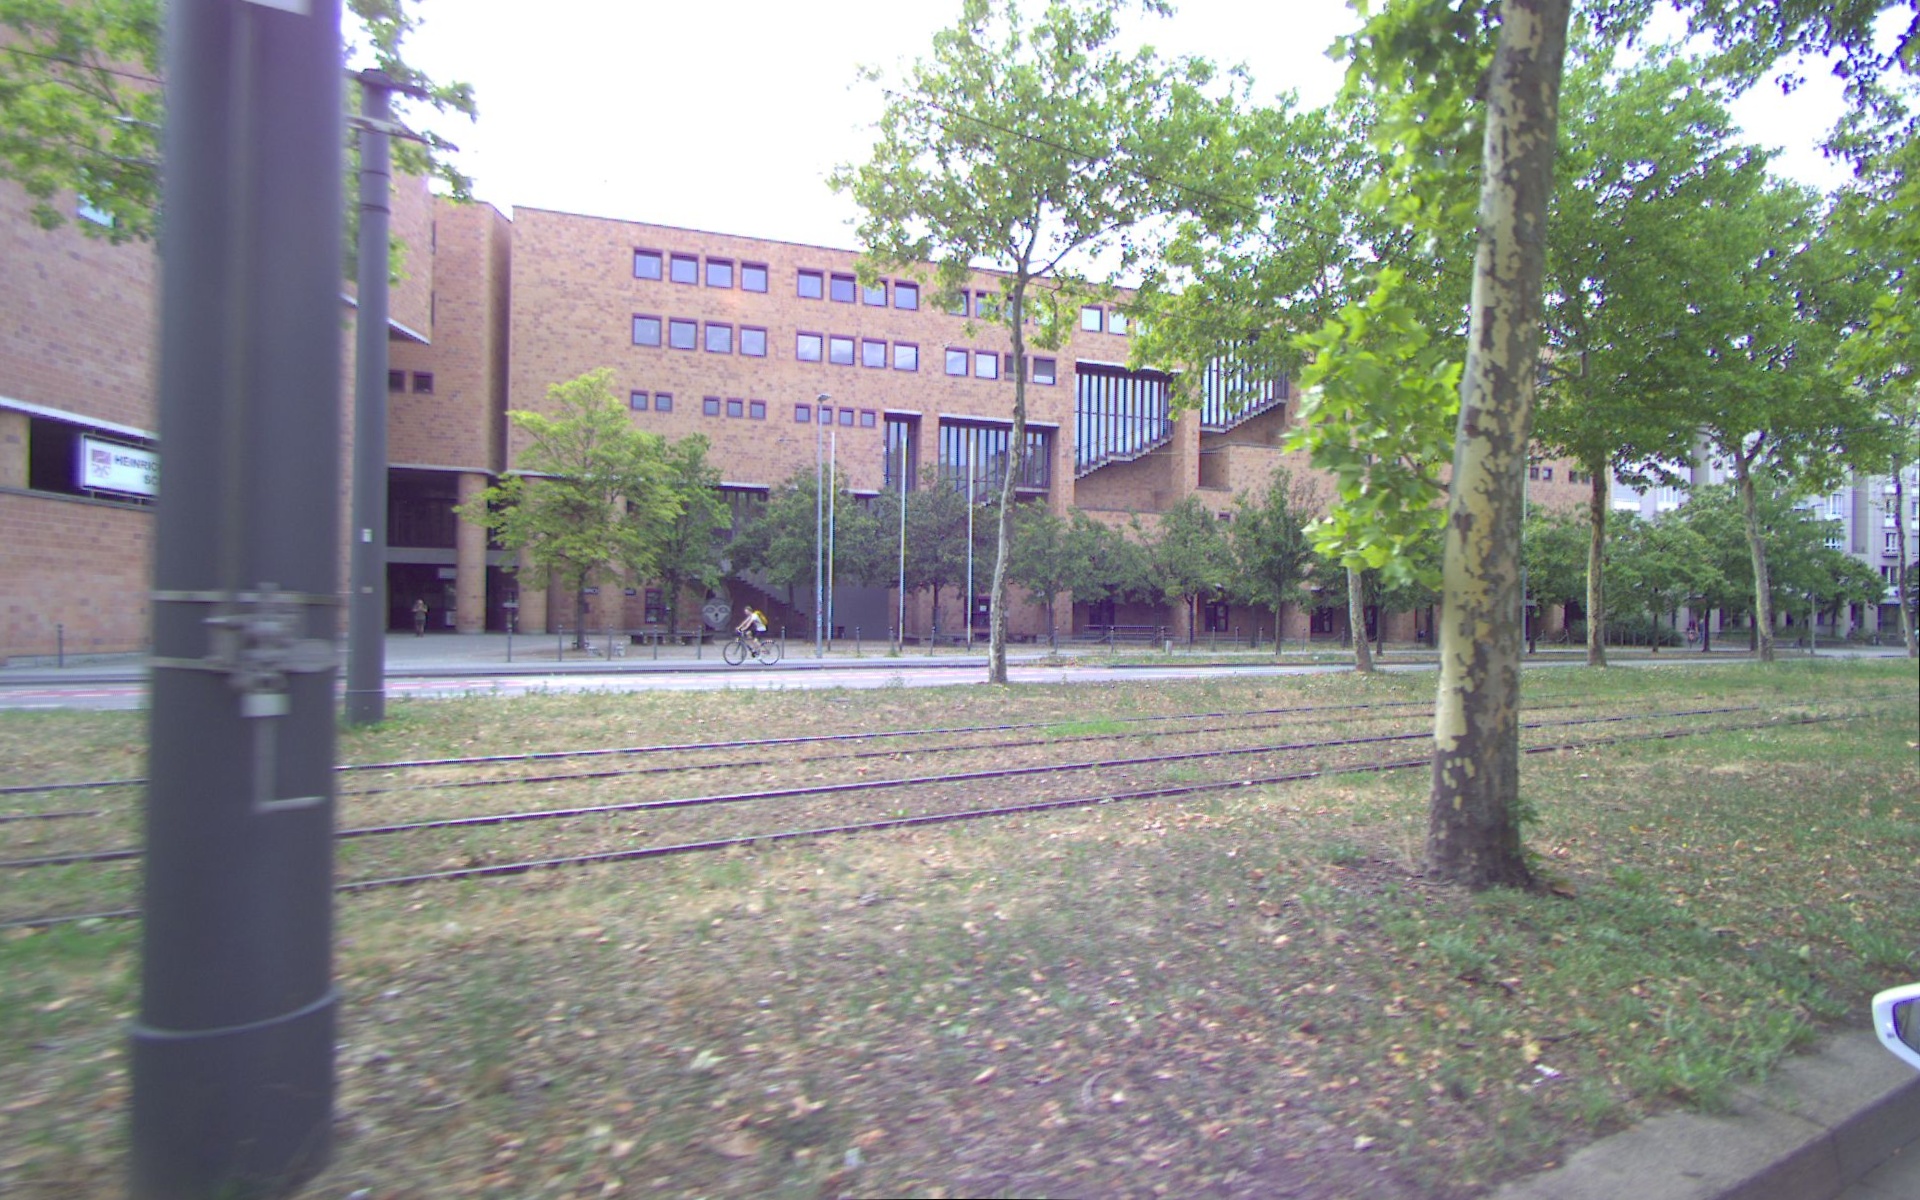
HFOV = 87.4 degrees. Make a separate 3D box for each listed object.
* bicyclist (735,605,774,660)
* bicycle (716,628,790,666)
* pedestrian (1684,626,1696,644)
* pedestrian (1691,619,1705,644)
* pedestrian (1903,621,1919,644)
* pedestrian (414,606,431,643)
[{"bbox_3d":[-6.152,0.963,30.065,0.971,1.612,0.662,1,-1,-27],"label":"bicyclist"},{"bbox_3d":[-6.177,1.383,30.047,2.066,1.099,0.665,1,-1,-27],"label":"bicycle"},{"bbox_3d":[53.654,2.557,73.825,0.545,1.340,0.457,1,0,-18],"label":"pedestrian"},{"bbox_3d":[50.554,2.161,68.790,0.618,1.728,0.551,1,-1,-25],"label":"pedestrian"},{"bbox_3d":[70.147,2.385,74.107,0.872,1.728,0.551,1,-1,-25],"label":"pedestrian"},{"bbox_3d":[-22.850,1.032,42.692,0.511,1.552,0.507,1,0,-15],"label":"pedestrian"}]
